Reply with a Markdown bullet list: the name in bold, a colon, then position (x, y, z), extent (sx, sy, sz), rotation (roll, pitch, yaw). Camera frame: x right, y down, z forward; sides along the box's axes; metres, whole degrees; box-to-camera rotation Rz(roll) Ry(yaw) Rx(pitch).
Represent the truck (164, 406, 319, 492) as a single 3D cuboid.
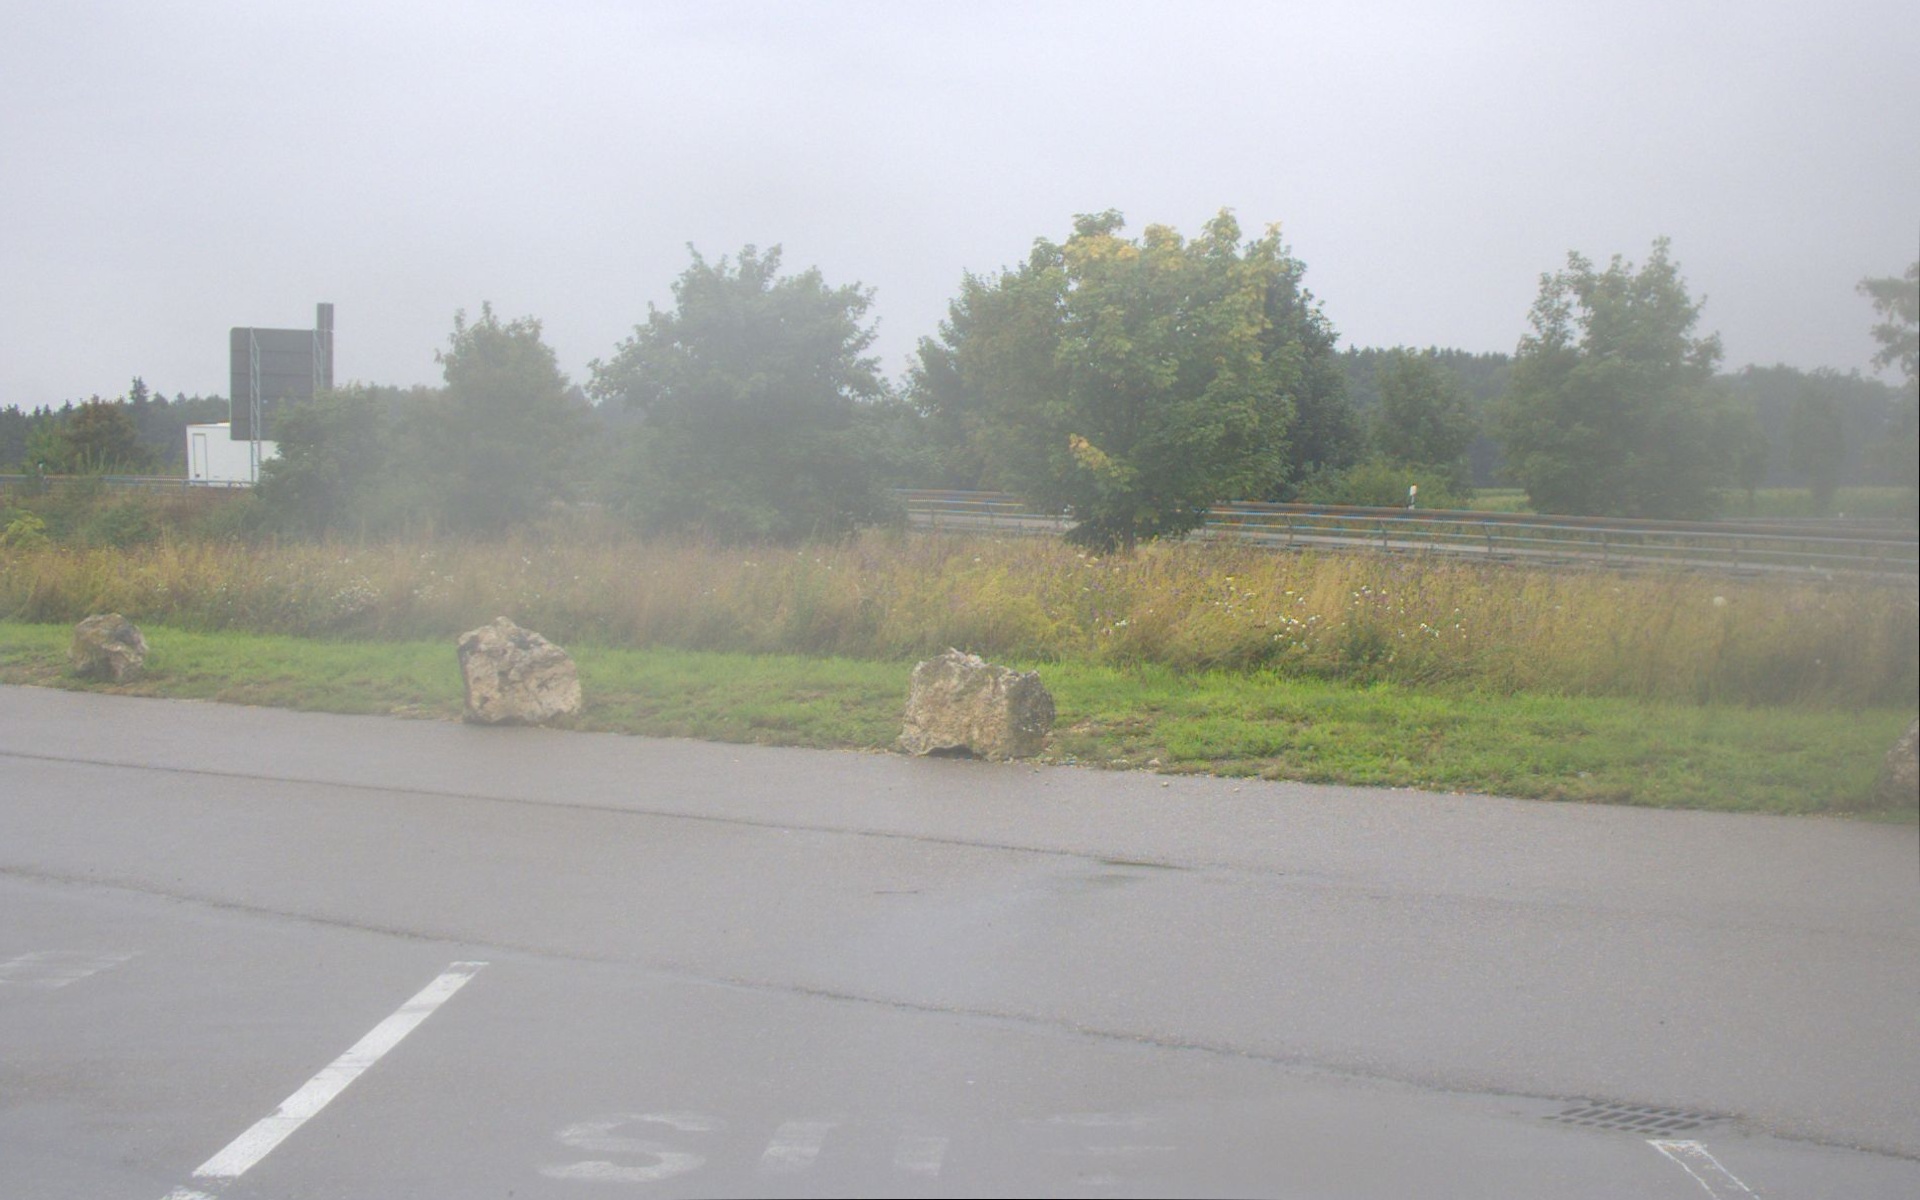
- **truck**: position (-29.333, -6.110, 140.186), extent (2.740, 3.379, 8.064), rotation (-1, 2, -40)
